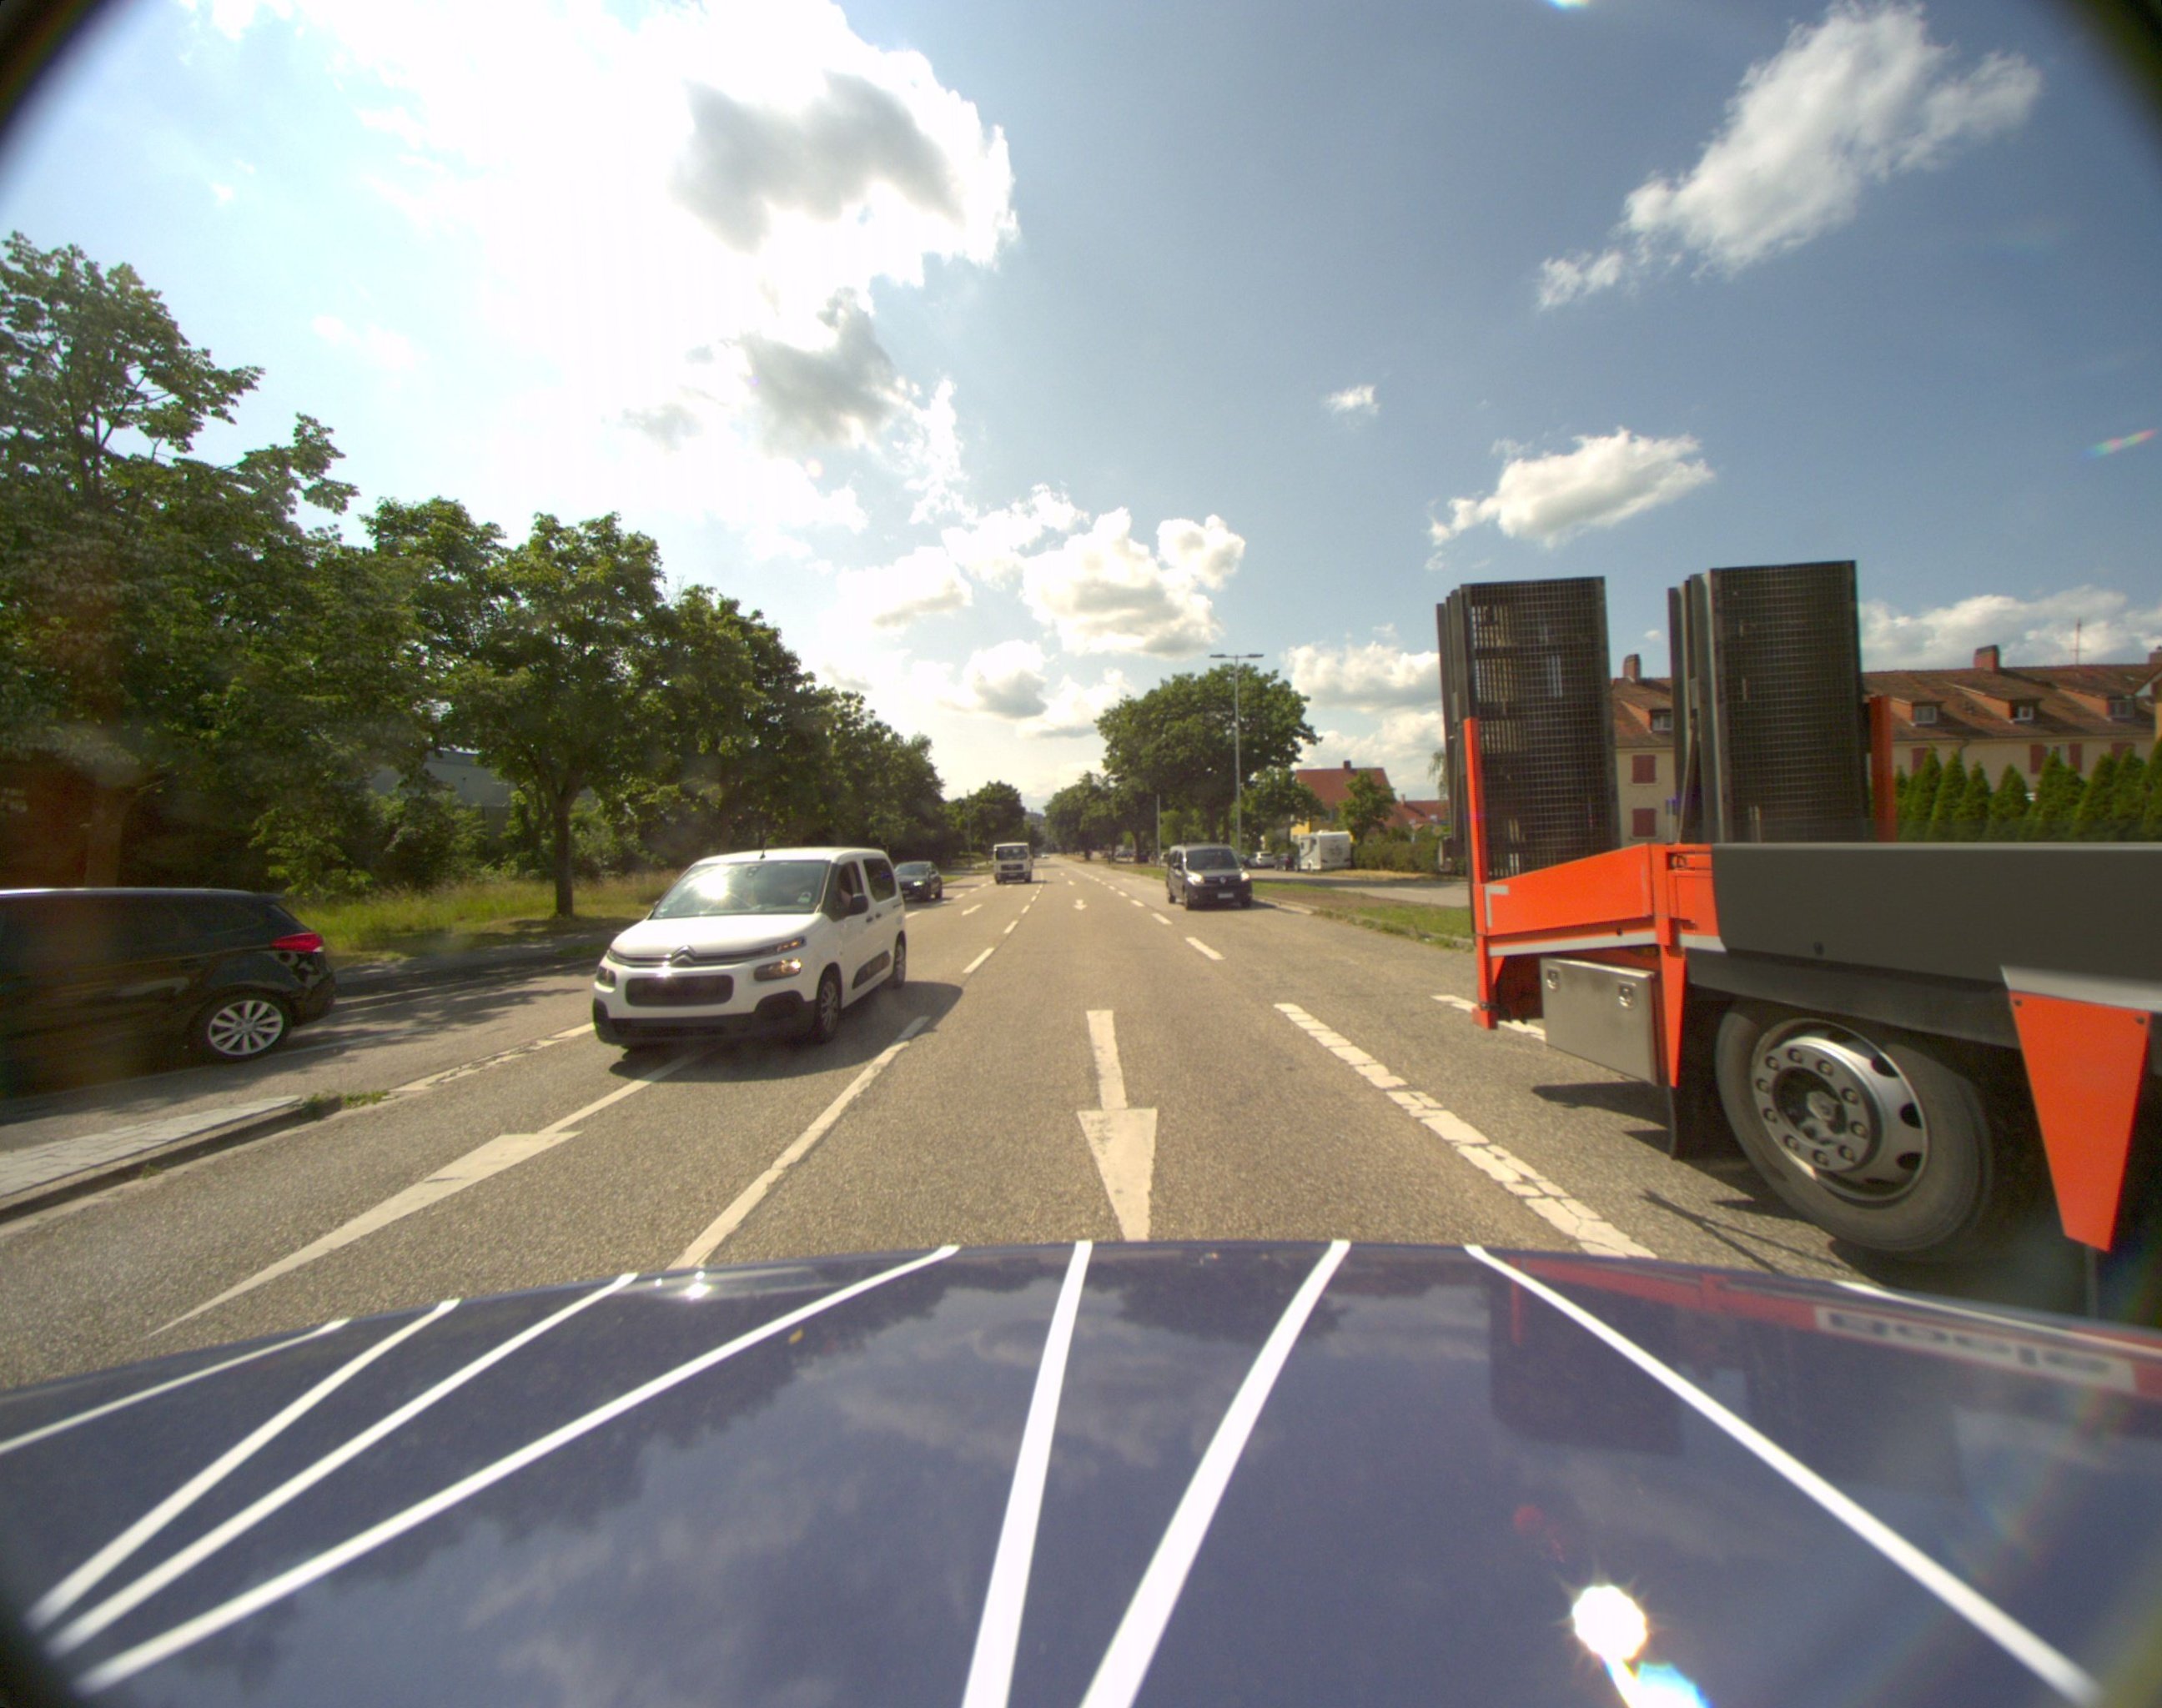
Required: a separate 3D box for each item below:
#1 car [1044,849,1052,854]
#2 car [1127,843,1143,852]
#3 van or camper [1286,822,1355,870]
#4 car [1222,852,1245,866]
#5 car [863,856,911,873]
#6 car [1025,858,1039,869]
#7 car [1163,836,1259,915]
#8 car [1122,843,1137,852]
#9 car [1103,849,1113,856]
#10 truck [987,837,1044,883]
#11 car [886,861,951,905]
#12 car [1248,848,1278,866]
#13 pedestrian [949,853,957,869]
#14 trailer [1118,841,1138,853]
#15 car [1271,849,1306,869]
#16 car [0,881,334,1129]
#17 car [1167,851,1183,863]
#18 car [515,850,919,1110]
[{"bbox_3d":[-8.945,-0.739,204.805,1.892,1.281,3.998,-4,1,-4],"label":"car"},{"bbox_3d":[13.596,-1.669,190.087,1.800,2.002,4.007,-2,2,44],"label":"car"},{"bbox_3d":[17.213,-0.546,55.122,2.265,3.094,7.318,-4,0,-2],"label":"van or camper"},{"bbox_3d":[16.482,0.550,82.332,1.515,1.362,4.530,-4,0,-1],"label":"car"},{"bbox_3d":[-18.312,1.018,71.782,4.176,1.484,1.783,1,-1,-8],"label":"car"},{"bbox_3d":[-7.375,1.446,114.216,1.758,1.482,3.999,-3,1,1],"label":"car"},{"bbox_3d":[3.540,0.499,21.535,1.768,1.893,4.539,-4,1,-1],"label":"car"},{"bbox_3d":[12.656,-1.654,198.067,1.800,2.002,4.007,-2,2,44],"label":"car"},{"bbox_3d":[6.206,-0.297,173.641,1.737,1.499,4.649,2,1,-4],"label":"car"},{"bbox_3d":[-4.205,0.273,50.303,2.848,2.649,7.350,-3,1,1],"label":"truck"},{"bbox_3d":[-6.750,1.163,31.982,1.758,1.482,3.999,-3,1,1],"label":"car"},{"bbox_3d":[16.865,0.281,70.467,1.693,1.477,4.122,-4,1,-1],"label":"car"},{"bbox_3d":[-14.831,0.758,87.858,0.719,1.784,0.739,-4,2,-4],"label":"pedestrian"},{"bbox_3d":[13.431,-2.108,215.164,2.821,3.090,5.763,-3,1,35],"label":"trailer"},{"bbox_3d":[16.882,0.388,61.944,1.640,1.477,3.991,-4,1,-1],"label":"car"},{"bbox_3d":[-8.700,1.201,5.496,1.767,1.640,4.243,-3,1,22],"label":"car"},{"bbox_3d":[14.746,0.426,119.480,1.665,1.603,4.312,-4,1,-4],"label":"car"},{"bbox_3d":[-3.141,0.910,7.886,1.936,1.775,4.714,-4,0,-2],"label":"car"}]
